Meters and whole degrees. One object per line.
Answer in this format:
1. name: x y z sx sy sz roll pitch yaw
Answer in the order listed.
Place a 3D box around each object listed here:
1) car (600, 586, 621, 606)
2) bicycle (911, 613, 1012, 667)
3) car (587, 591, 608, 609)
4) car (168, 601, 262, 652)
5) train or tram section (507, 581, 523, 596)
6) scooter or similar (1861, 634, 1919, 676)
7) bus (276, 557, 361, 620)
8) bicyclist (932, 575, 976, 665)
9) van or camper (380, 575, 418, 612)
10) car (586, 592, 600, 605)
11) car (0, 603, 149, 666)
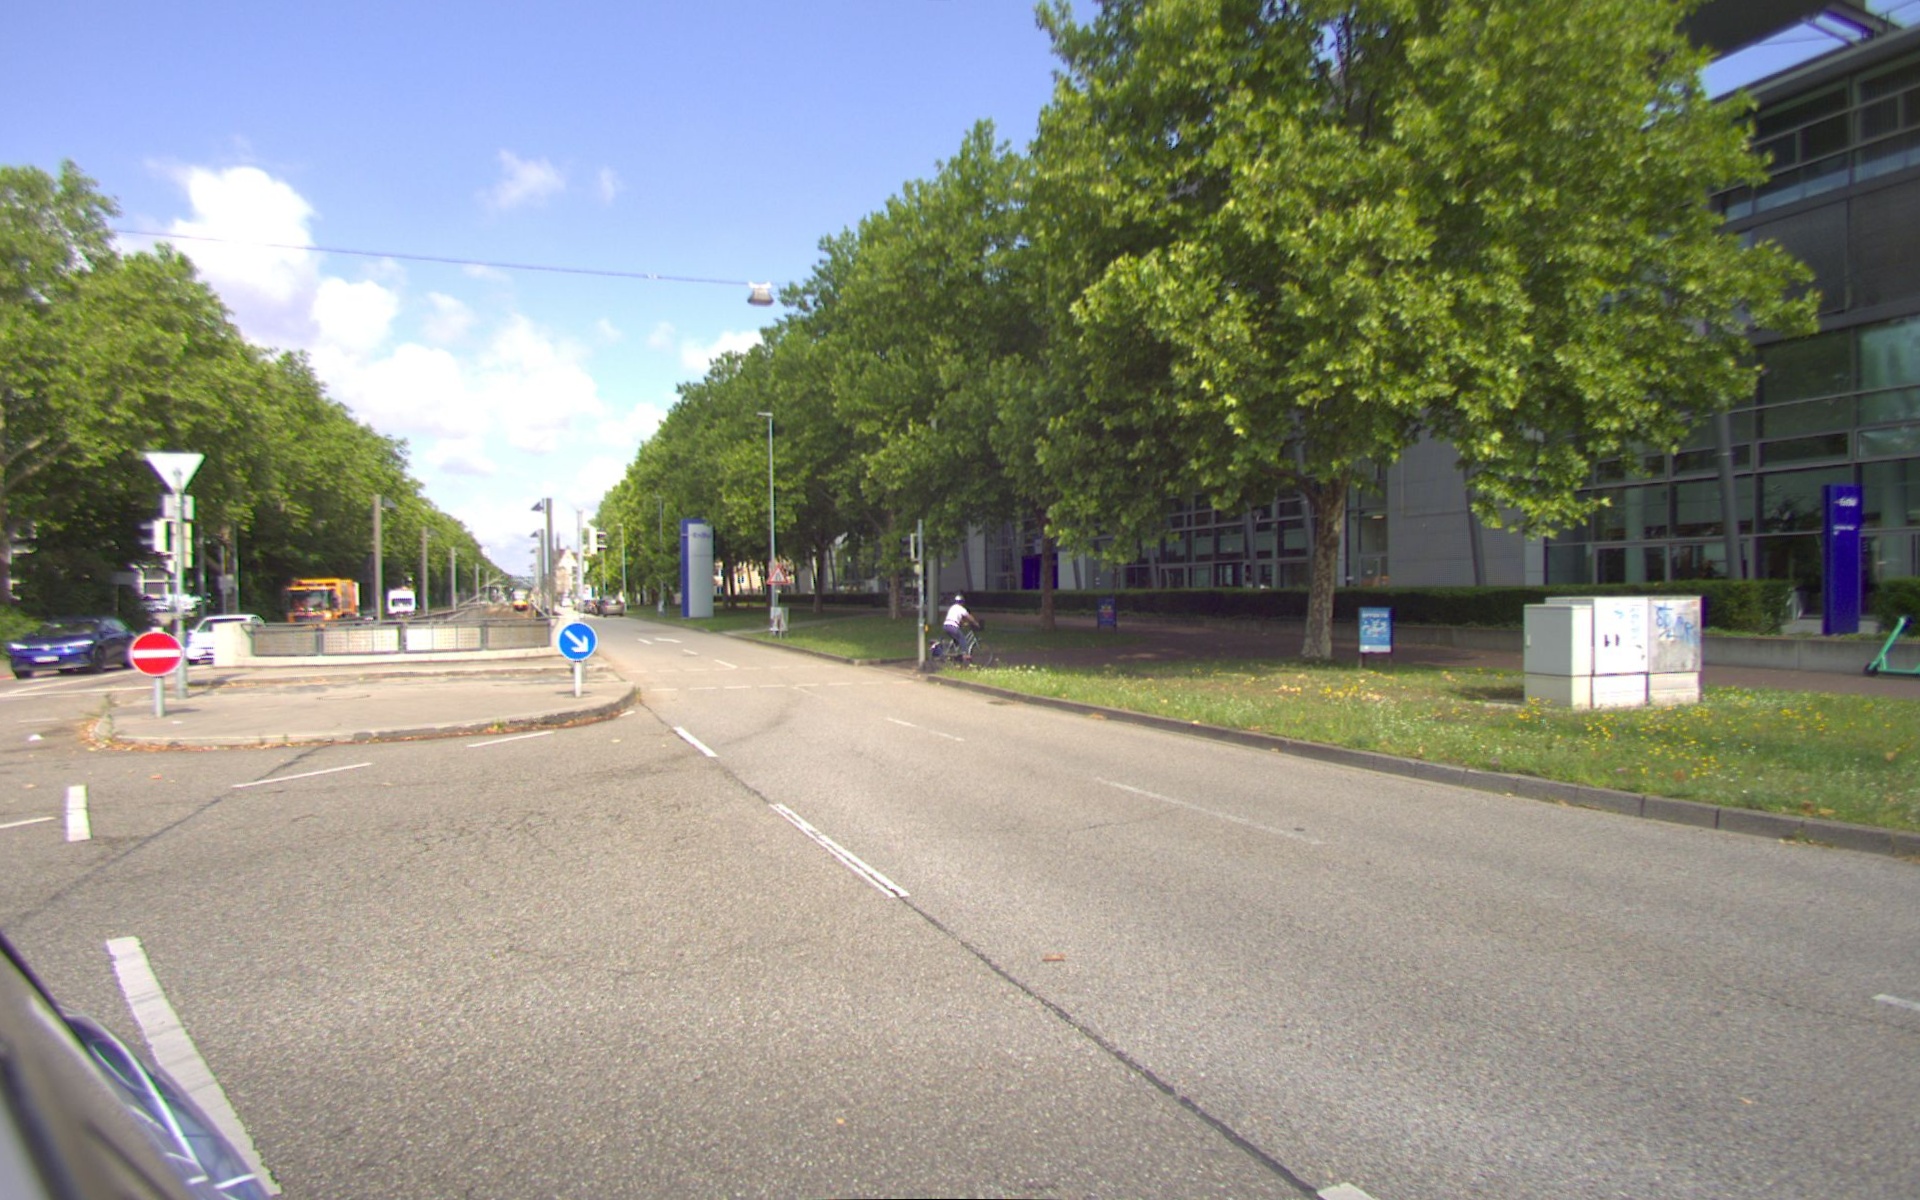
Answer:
1. car: -30.421 -0.332 88.075 1.397 1.467 3.167 5 -3 -23
2. bicycle: 0.037 0.903 23.403 2.145 1.094 0.889 -3 0 -30
3. car: -33.601 0.017 93.721 1.556 1.445 3.167 5 -3 -23
4. car: -23.412 0.794 31.945 1.708 1.497 3.614 0 0 -25
5. train or tram section: -82.047 -2.102 186.589 2.179 2.477 6.268 3 -3 -28
6. scooter or similar: 16.304 0.948 17.411 0.237 0.718 1.234 3 -3 -19
7. bus: -40.038 -0.567 63.495 2.699 3.492 10.429 3 -2 -23
8. bicyclist: -0.135 0.467 23.297 0.718 2.029 0.605 3 -2 -30
9. van or camper: -46.867 -0.465 84.631 2.127 2.807 5.985 3 -3 -24
10. car: -37.793 -0.137 104.131 1.161 1.252 2.558 4 -3 -24
11. car: -25.067 0.911 28.837 1.860 1.587 4.595 -1 0 -23
